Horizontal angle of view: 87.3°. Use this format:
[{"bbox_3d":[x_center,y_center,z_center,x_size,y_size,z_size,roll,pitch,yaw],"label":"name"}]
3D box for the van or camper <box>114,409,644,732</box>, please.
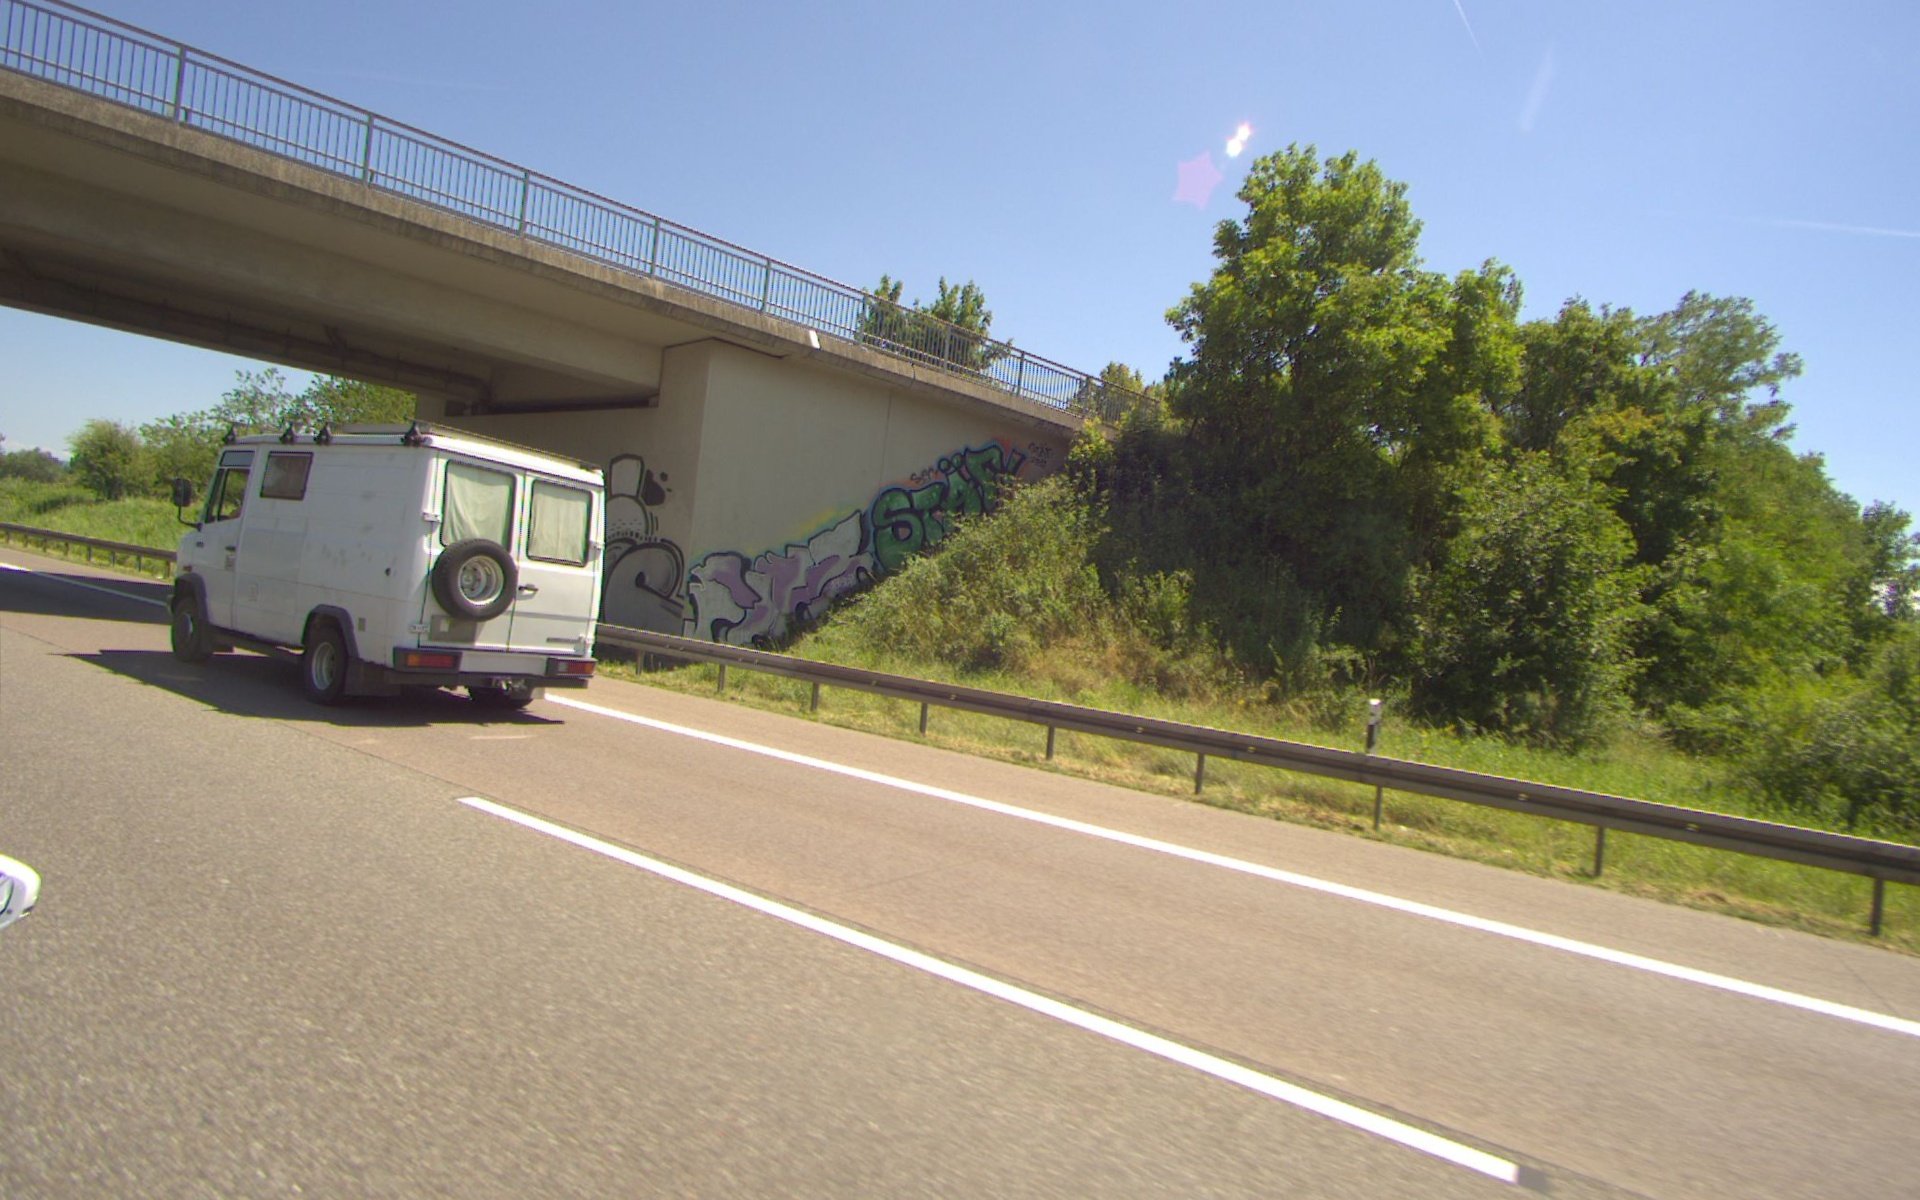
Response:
[{"bbox_3d":[-6.561,-0.426,11.020,6.263,2.734,2.117,6,-2,32],"label":"van or camper"}]
